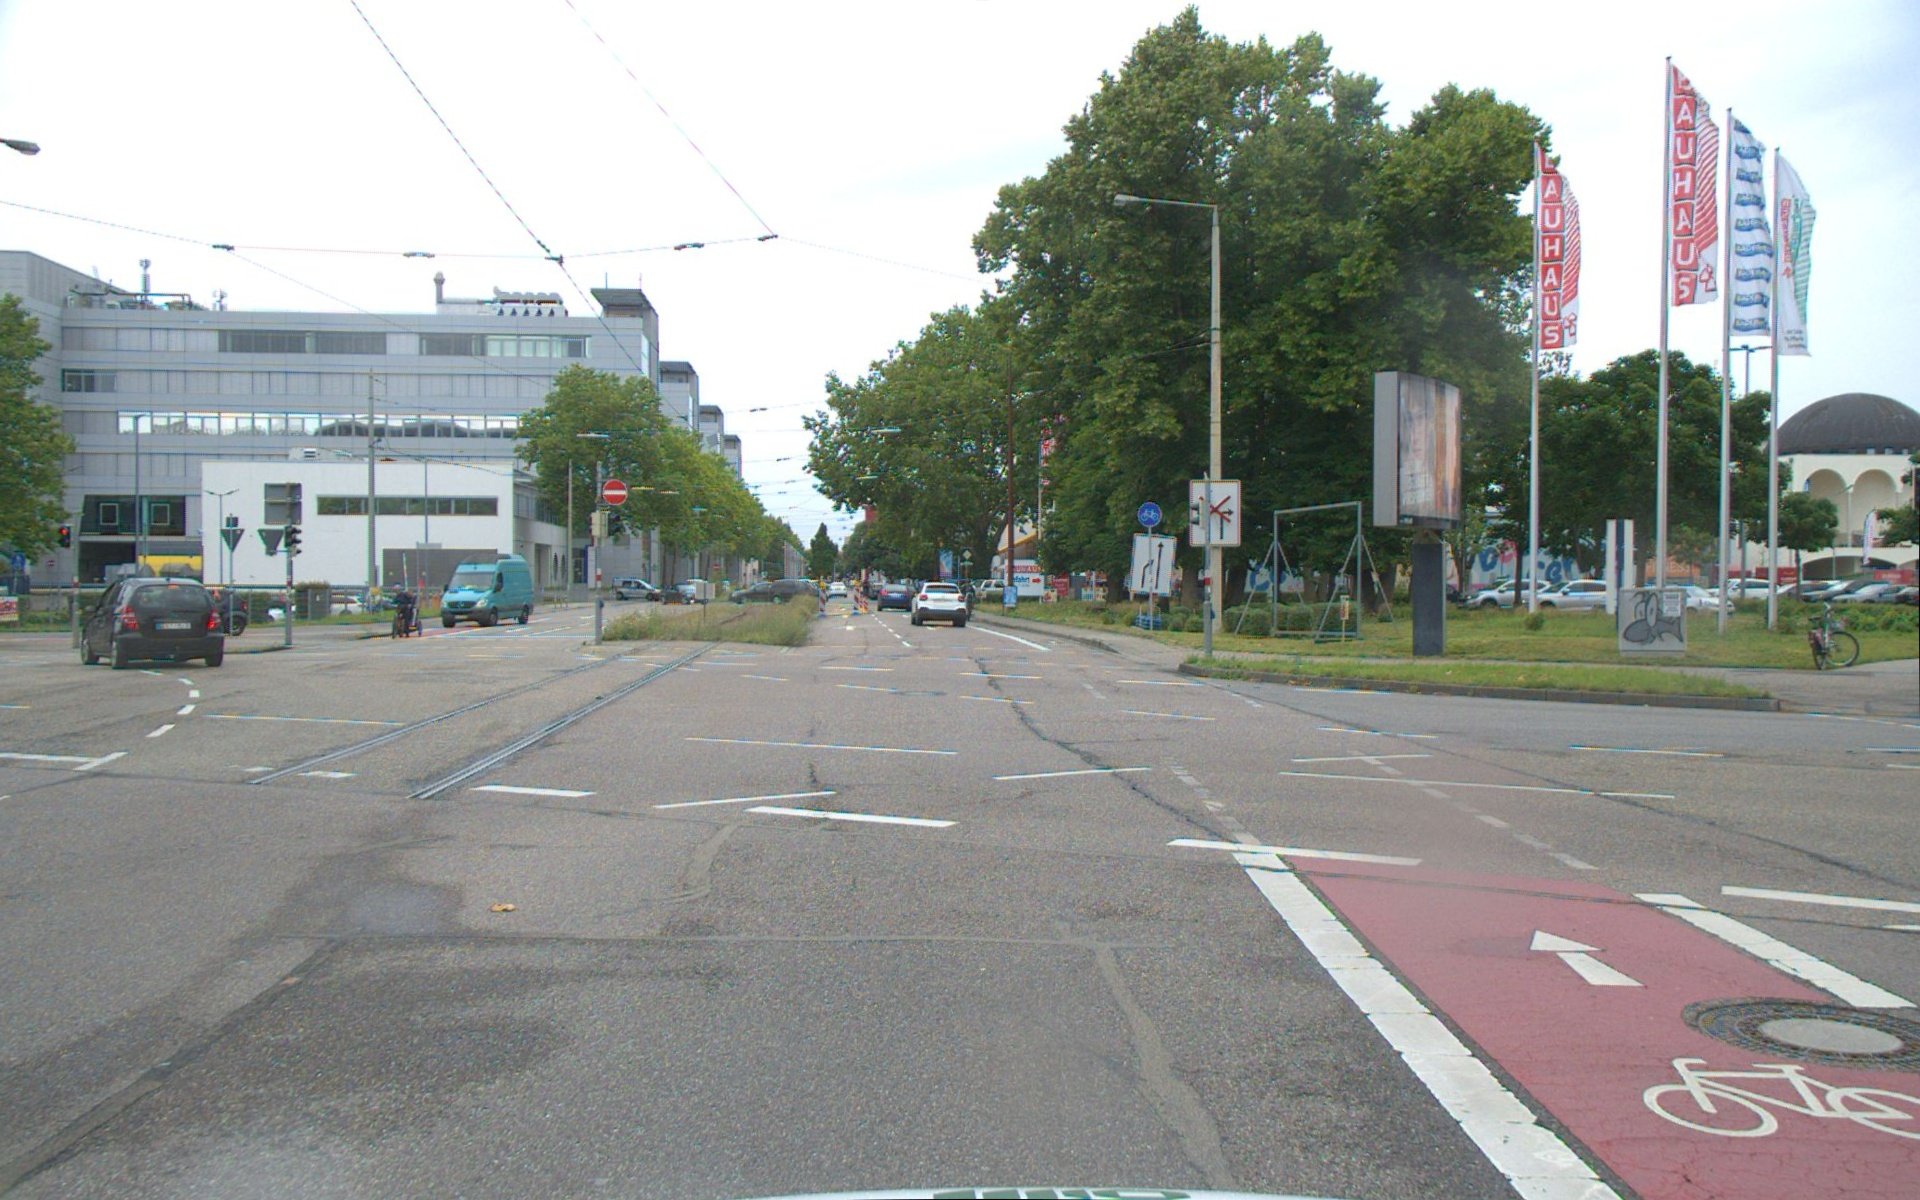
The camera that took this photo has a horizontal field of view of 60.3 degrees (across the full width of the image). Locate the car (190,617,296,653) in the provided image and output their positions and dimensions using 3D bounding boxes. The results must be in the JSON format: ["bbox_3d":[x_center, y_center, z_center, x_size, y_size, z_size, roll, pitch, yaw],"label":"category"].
[{"bbox_3d":[-33.565,1.627,77.534,4.127,1.559,1.912,-1,1,-3],"label":"car"}]

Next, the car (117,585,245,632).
[{"bbox_3d":[-26.308,0.282,55.903,3.579,1.554,1.776,0,0,14],"label":"car"}]

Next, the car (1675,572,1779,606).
[{"bbox_3d":[39.790,-0.584,85.867,4.470,1.706,2.151,-1,1,-10],"label":"car"}]

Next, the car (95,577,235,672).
[{"bbox_3d":[-14.384,0.398,29.851,1.753,1.554,3.625,1,1,-34],"label":"car"}]

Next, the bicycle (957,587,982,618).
[{"bbox_3d":[0.392,0.106,68.028,0.800,1.234,2.681,-1,1,-4],"label":"bicycle"}]

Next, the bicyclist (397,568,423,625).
[{"bbox_3d":[-16.737,-0.113,50.326,0.634,1.713,0.684,1,1,-11],"label":"bicyclist"}]

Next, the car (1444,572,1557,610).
[{"bbox_3d":[24.260,-0.401,74.278,4.447,1.523,1.956,2,0,-9],"label":"car"}]

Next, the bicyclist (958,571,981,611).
[{"bbox_3d":[0.385,-0.375,68.022,0.800,1.658,1.234,-1,0,-5],"label":"bicyclist"}]

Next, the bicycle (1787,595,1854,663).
[{"bbox_3d":[15.201,0.501,29.201,1.792,1.137,0.481,-1,1,-43],"label":"bicycle"}]

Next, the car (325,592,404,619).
[{"bbox_3d":[-34.555,0.312,96.043,3.911,1.511,1.910,-1,1,-7],"label":"car"}]

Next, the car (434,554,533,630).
[{"bbox_3d":[-18.824,-0.327,65.635,2.281,2.875,5.948,0,0,-1],"label":"car"}]

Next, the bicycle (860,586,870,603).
[{"bbox_3d":[-8.111,-0.457,141.151,0.658,1.418,2.163,1,1,-7],"label":"bicycle"}]

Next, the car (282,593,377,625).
[{"bbox_3d":[-34.328,0.458,90.139,4.441,1.662,1.910,-1,1,-7],"label":"car"}]

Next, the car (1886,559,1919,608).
[{"bbox_3d":[42.257,-0.724,70.595,4.470,2.087,2.151,-1,0,-10],"label":"car"}]

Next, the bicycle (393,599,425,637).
[{"bbox_3d":[-16.761,0.547,50.355,0.634,1.081,2.019,1,1,-10],"label":"bicycle"}]

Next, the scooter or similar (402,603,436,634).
[{"bbox_3d":[-17.012,0.589,52.031,0.829,0.923,1.195,1,1,-11],"label":"scooter or similar"}]

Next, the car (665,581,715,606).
[{"bbox_3d":[-17.745,-0.448,108.495,1.802,1.501,4.083,-1,-1,-32],"label":"car"}]

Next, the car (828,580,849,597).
[{"bbox_3d":[-11.752,-1.098,159.831,1.761,1.540,3.700,1,1,-7],"label":"car"}]

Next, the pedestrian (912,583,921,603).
[{"bbox_3d":[-3.814,-0.639,144.586,0.746,1.734,0.680,-1,1,-10],"label":"pedestrian"}]

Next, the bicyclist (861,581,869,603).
[{"bbox_3d":[-8.126,-0.662,141.264,0.658,1.847,0.758,1,1,-8],"label":"bicyclist"}]

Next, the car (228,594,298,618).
[{"bbox_3d":[-46.686,0.396,110.837,3.911,1.511,1.910,-1,1,-7],"label":"car"}]

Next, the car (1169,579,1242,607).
[{"bbox_3d":[16.406,-0.497,110.726,4.464,1.821,2.072,0,1,-5],"label":"car"}]

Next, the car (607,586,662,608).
[{"bbox_3d":[-27.276,-0.273,138.588,4.328,1.814,1.823,-1,0,-7],"label":"car"}]

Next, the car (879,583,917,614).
[{"bbox_3d":[-3.297,-0.098,87.174,1.652,1.540,3.700,1,1,-7],"label":"car"}]

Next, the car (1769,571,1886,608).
[{"bbox_3d":[40.659,-0.498,77.568,4.470,1.706,2.151,-1,1,-10],"label":"car"}]

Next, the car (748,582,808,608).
[{"bbox_3d":[-11.896,-0.327,108.344,3.807,1.583,1.823,2,0,-5],"label":"car"}]

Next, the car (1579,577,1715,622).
[{"bbox_3d":[25.792,-0.013,62.167,4.361,1.523,1.927,2,0,-9],"label":"car"}]

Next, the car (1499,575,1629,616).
[{"bbox_3d":[25.003,-0.190,68.523,4.585,1.523,2.168,2,0,-6],"label":"car"}]

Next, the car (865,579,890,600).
[{"bbox_3d":[-6.921,-0.905,138.406,1.841,1.661,3.995,-1,1,-6],"label":"car"}]

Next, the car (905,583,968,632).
[{"bbox_3d":[-0.860,0.239,58.674,1.789,1.628,3.770,1,1,-7],"label":"car"}]
